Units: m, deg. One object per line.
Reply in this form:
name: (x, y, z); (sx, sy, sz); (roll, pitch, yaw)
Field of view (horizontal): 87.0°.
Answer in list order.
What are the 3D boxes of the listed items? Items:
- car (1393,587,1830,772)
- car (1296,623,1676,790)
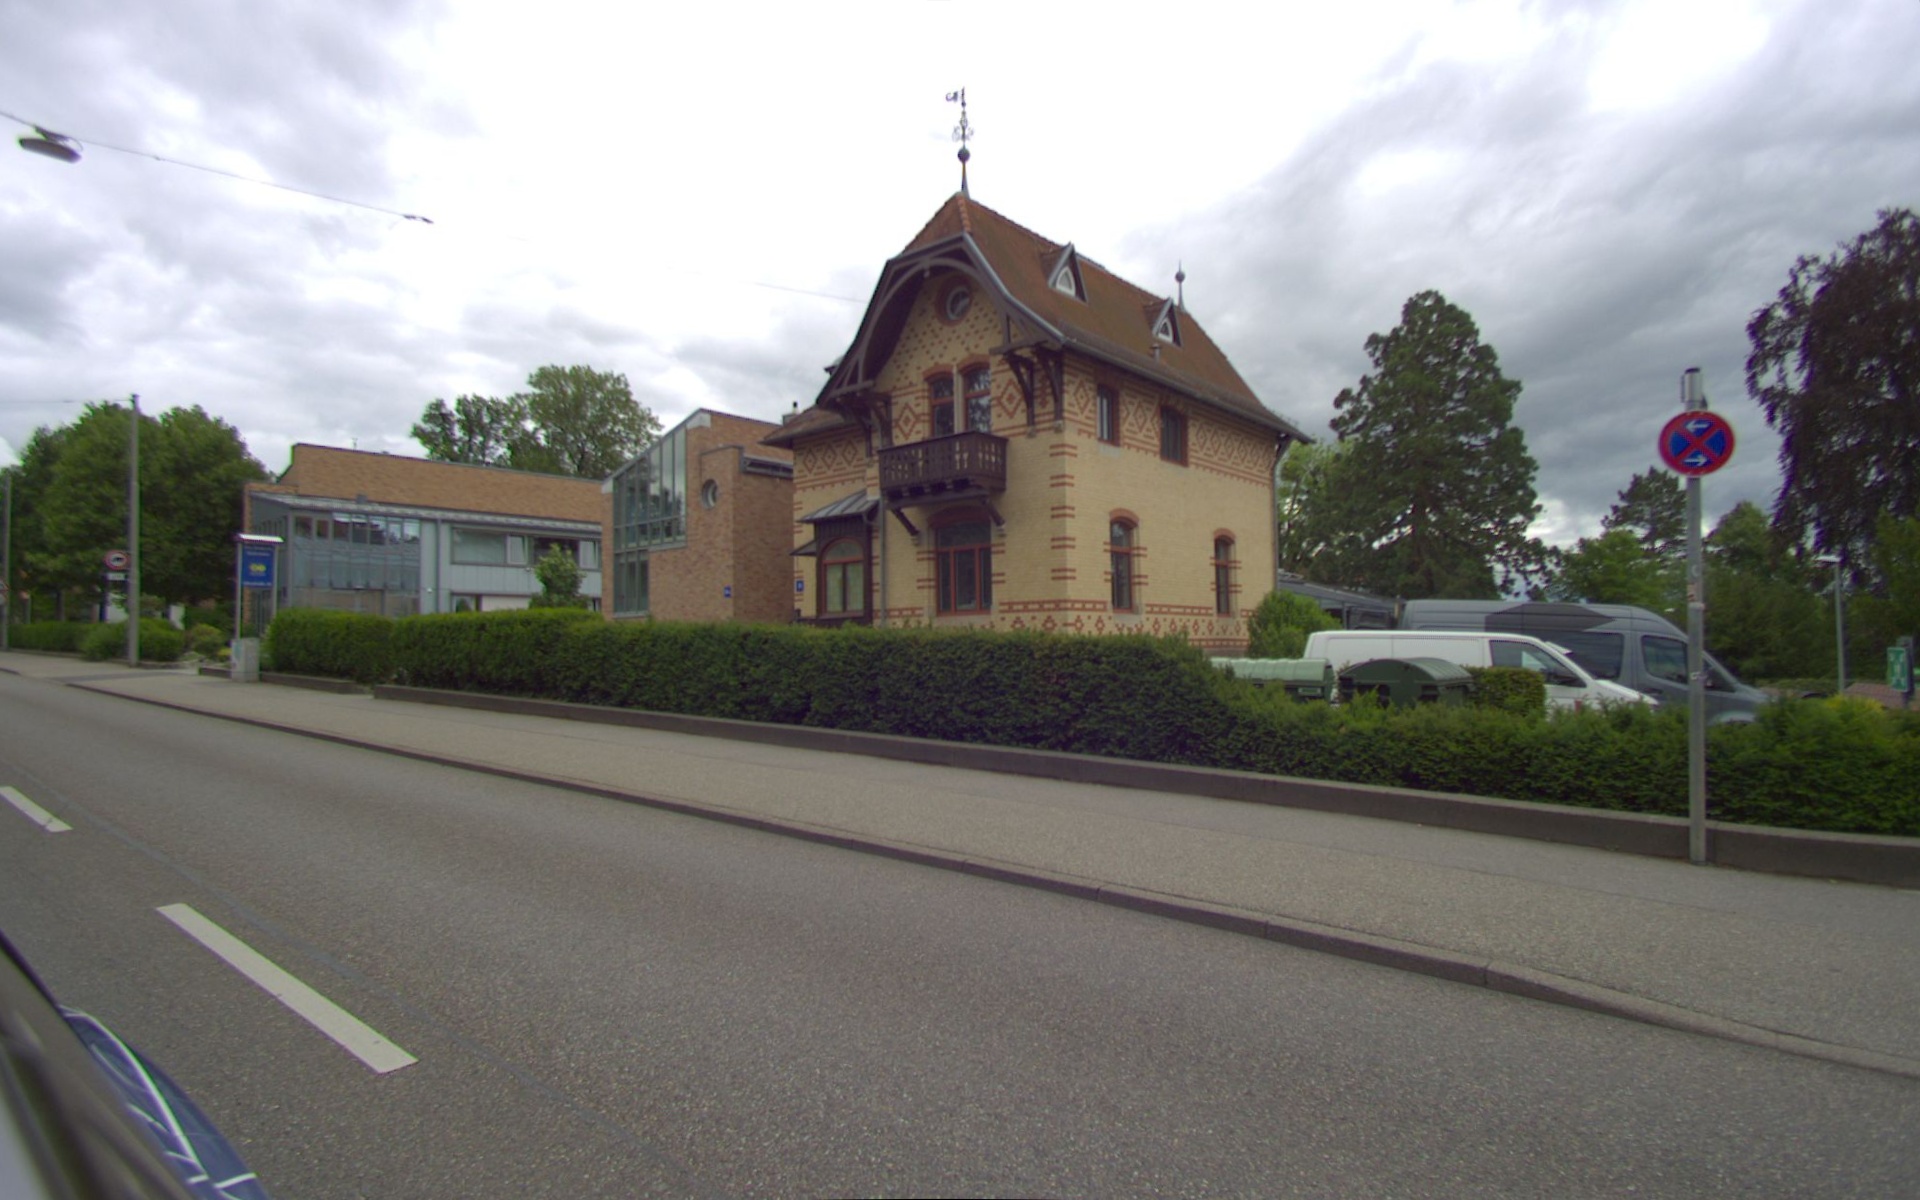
car: (10.266, 1.212, 16.629); (5.691, 2.639, 1.982); (-1, -3, 26)
car: (7.452, 1.407, 14.709); (4.597, 2.085, 1.875); (-1, -3, 30)
